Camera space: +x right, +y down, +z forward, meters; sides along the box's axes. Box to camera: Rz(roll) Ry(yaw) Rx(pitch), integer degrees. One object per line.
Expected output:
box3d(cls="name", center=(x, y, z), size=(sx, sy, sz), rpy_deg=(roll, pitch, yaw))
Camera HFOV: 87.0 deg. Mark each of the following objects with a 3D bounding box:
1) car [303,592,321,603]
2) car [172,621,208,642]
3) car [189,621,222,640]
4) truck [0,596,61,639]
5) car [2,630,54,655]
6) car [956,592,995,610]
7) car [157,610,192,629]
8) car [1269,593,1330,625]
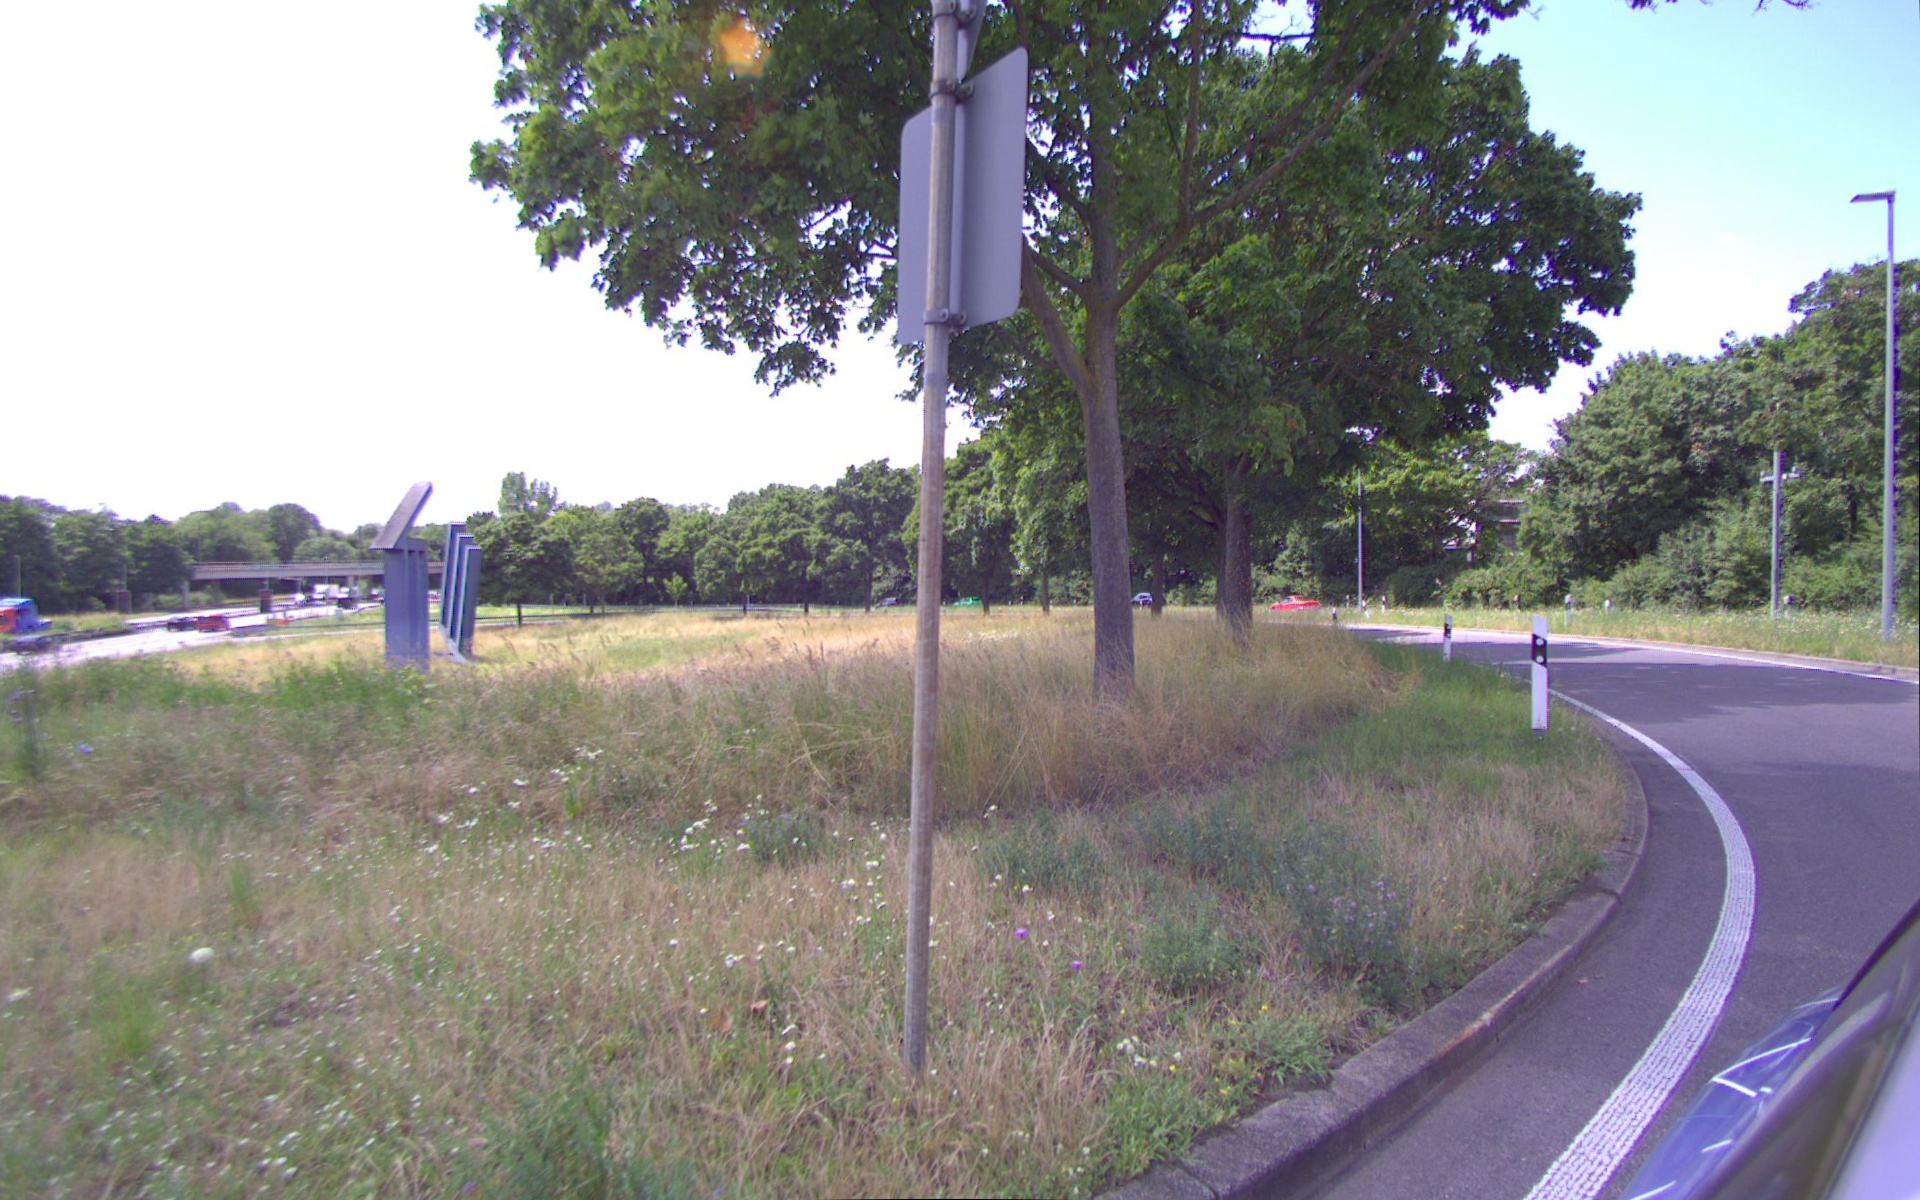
box3d(cls="car", center=(-121.398, -0.432, 189.626), size=(1.958, 2.039, 4.008), rpy_deg=(0, 0, -18))
box3d(cls="car", center=(-84.251, 3.429, 110.775), size=(1.958, 2.039, 4.008), rpy_deg=(0, 0, -18))
box3d(cls="car", center=(-88.745, 3.570, 119.034), size=(1.958, 2.039, 4.008), rpy_deg=(0, 0, -18))
box3d(cls="truck", center=(-102.010, 1.783, 108.984), size=(3.933, 4.459, 9.652), rpy_deg=(0, 0, -16))
box3d(cls="car", center=(-84.894, 3.883, 92.246), size=(1.958, 2.039, 4.008), rpy_deg=(0, 0, -18))
box3d(cls="car", center=(1.712, 0.104, 110.486), size=(3.983, 1.905, 1.970), rpy_deg=(0, 0, 41))
box3d(cls="car", center=(-92.149, 2.265, 118.750), size=(1.958, 2.039, 4.008), rpy_deg=(0, 0, -18))
box3d(cls="car", center=(22.215, 0.560, 66.368), size=(1.958, 2.039, 4.008), rpy_deg=(0, 0, -14))
